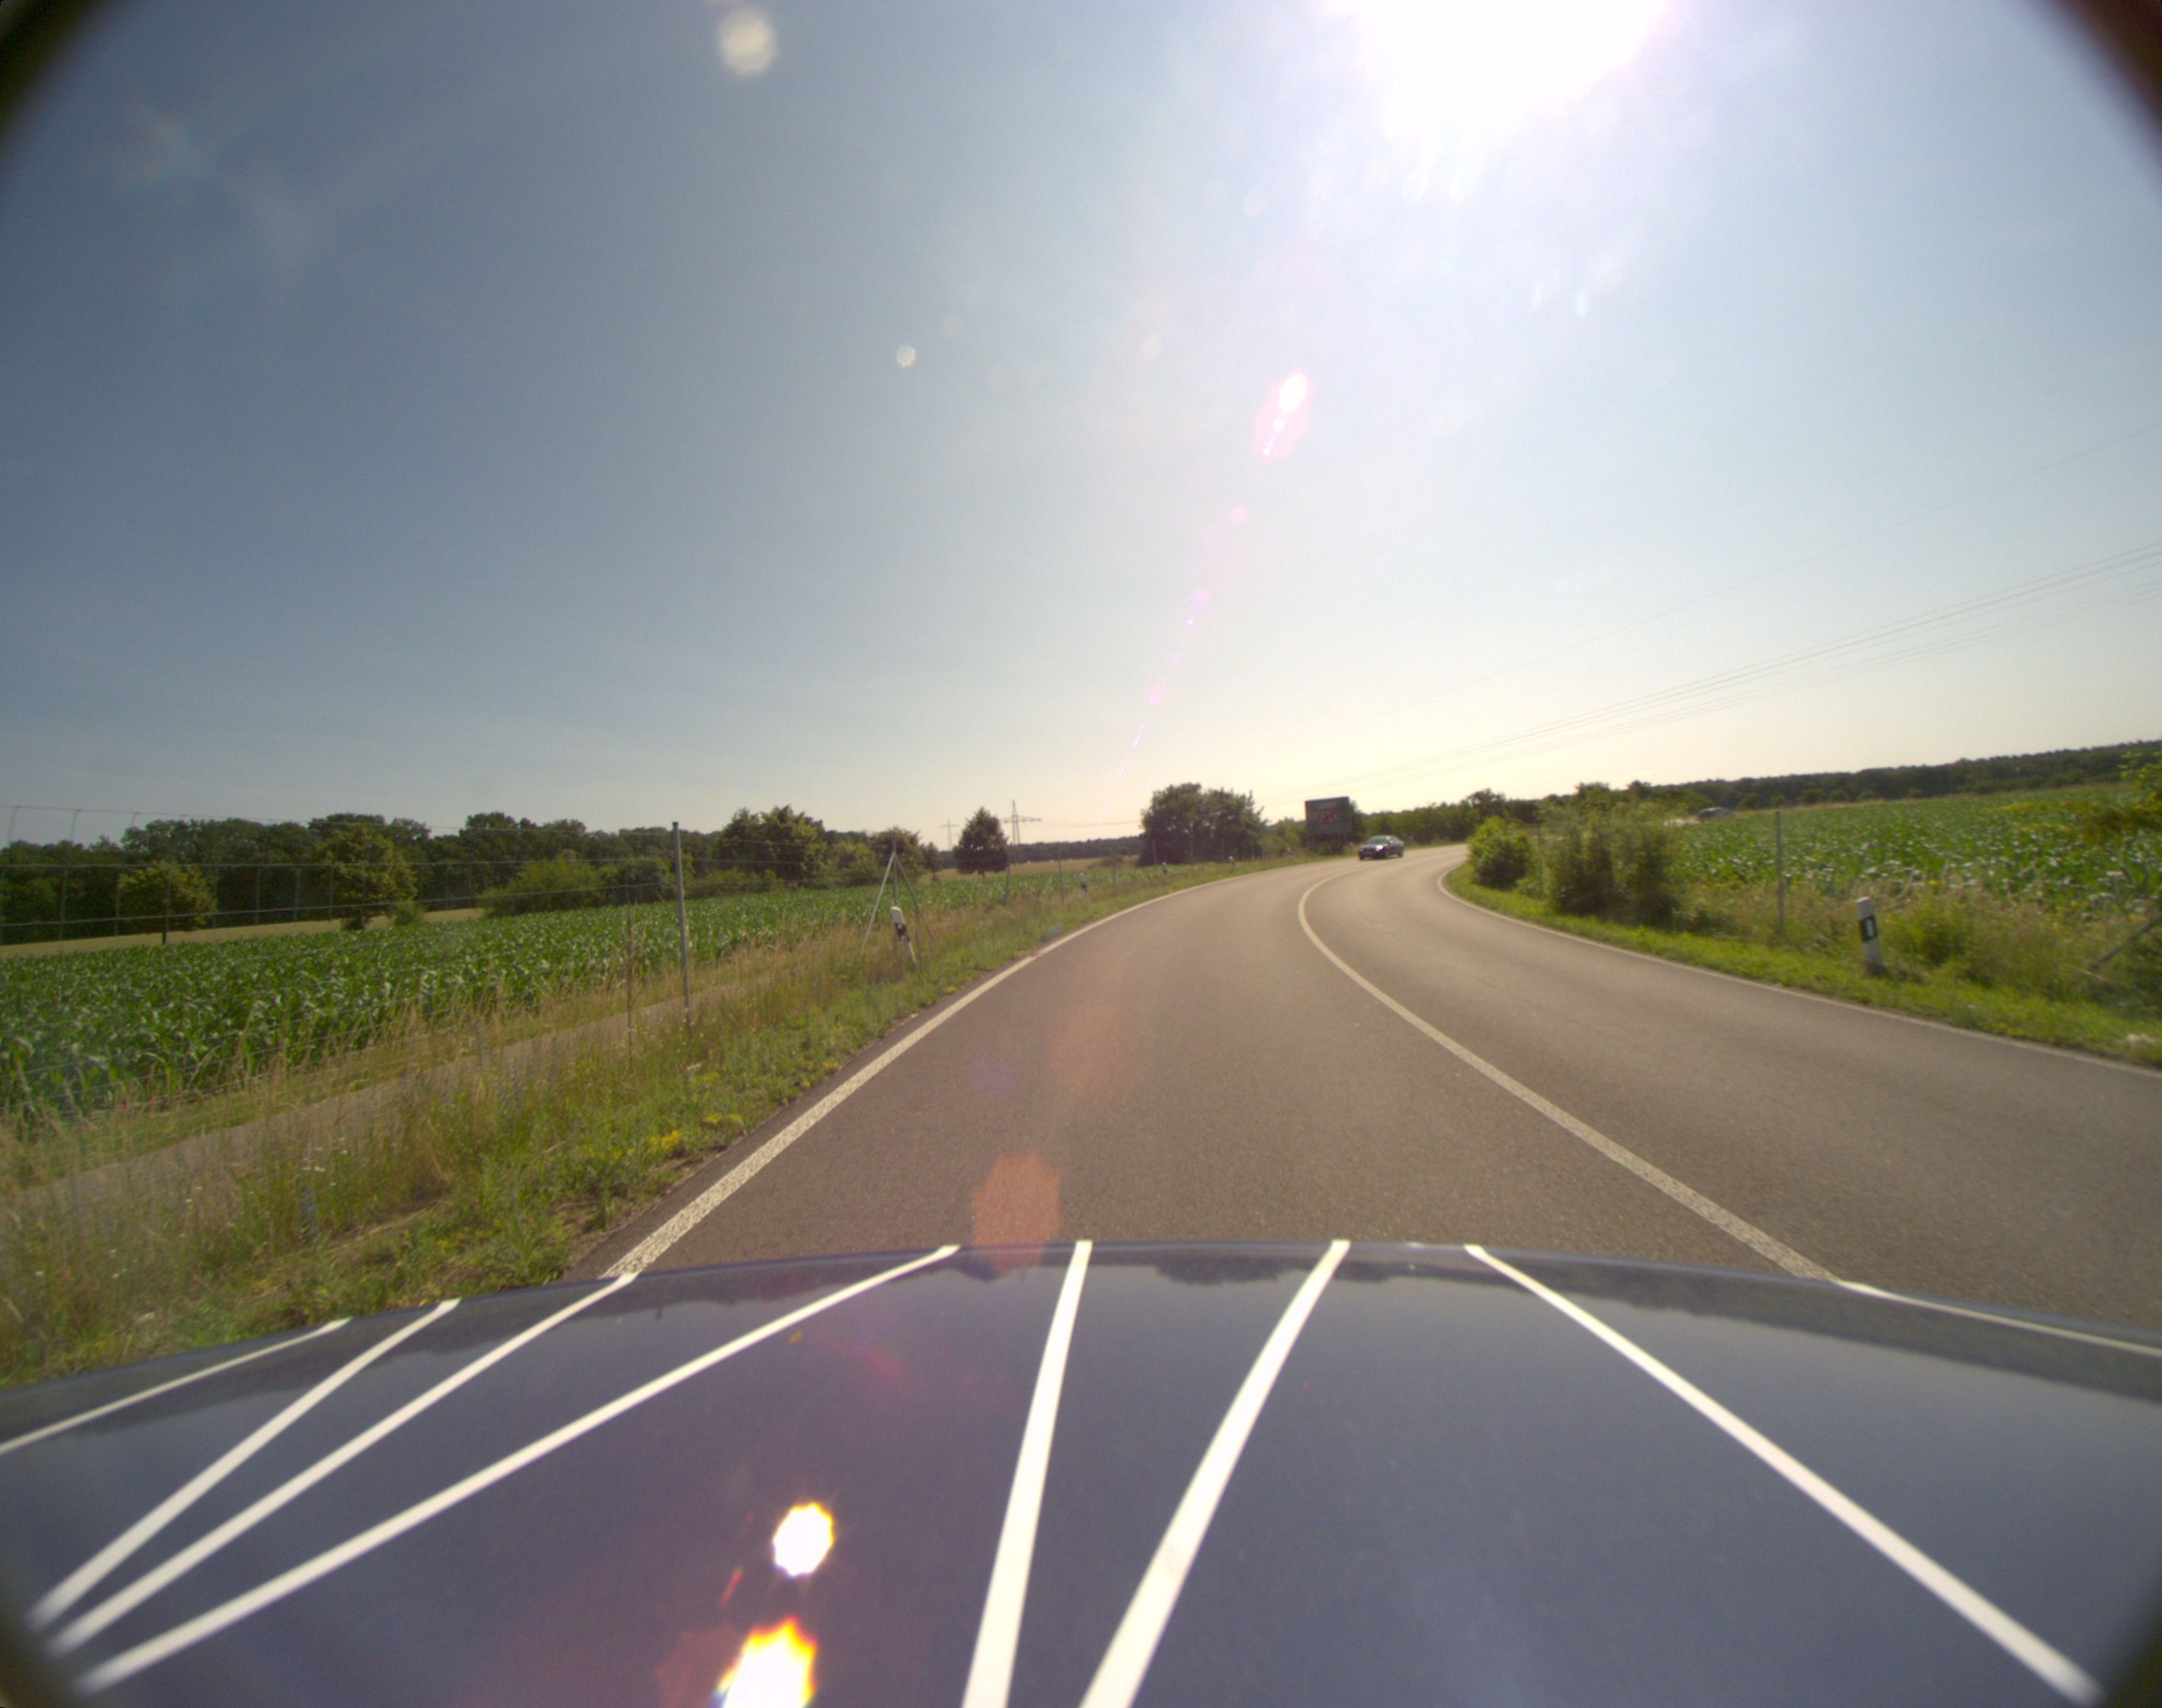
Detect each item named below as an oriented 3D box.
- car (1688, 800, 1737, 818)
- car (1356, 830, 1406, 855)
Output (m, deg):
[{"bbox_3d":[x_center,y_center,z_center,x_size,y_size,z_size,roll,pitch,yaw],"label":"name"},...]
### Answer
[{"bbox_3d":[65.521,-4.637,78.846,5.140,1.473,1.868,-6,3,-24],"label":"car"},{"bbox_3d":[19.192,-0.728,48.530,1.882,1.448,4.083,0,2,38],"label":"car"}]
